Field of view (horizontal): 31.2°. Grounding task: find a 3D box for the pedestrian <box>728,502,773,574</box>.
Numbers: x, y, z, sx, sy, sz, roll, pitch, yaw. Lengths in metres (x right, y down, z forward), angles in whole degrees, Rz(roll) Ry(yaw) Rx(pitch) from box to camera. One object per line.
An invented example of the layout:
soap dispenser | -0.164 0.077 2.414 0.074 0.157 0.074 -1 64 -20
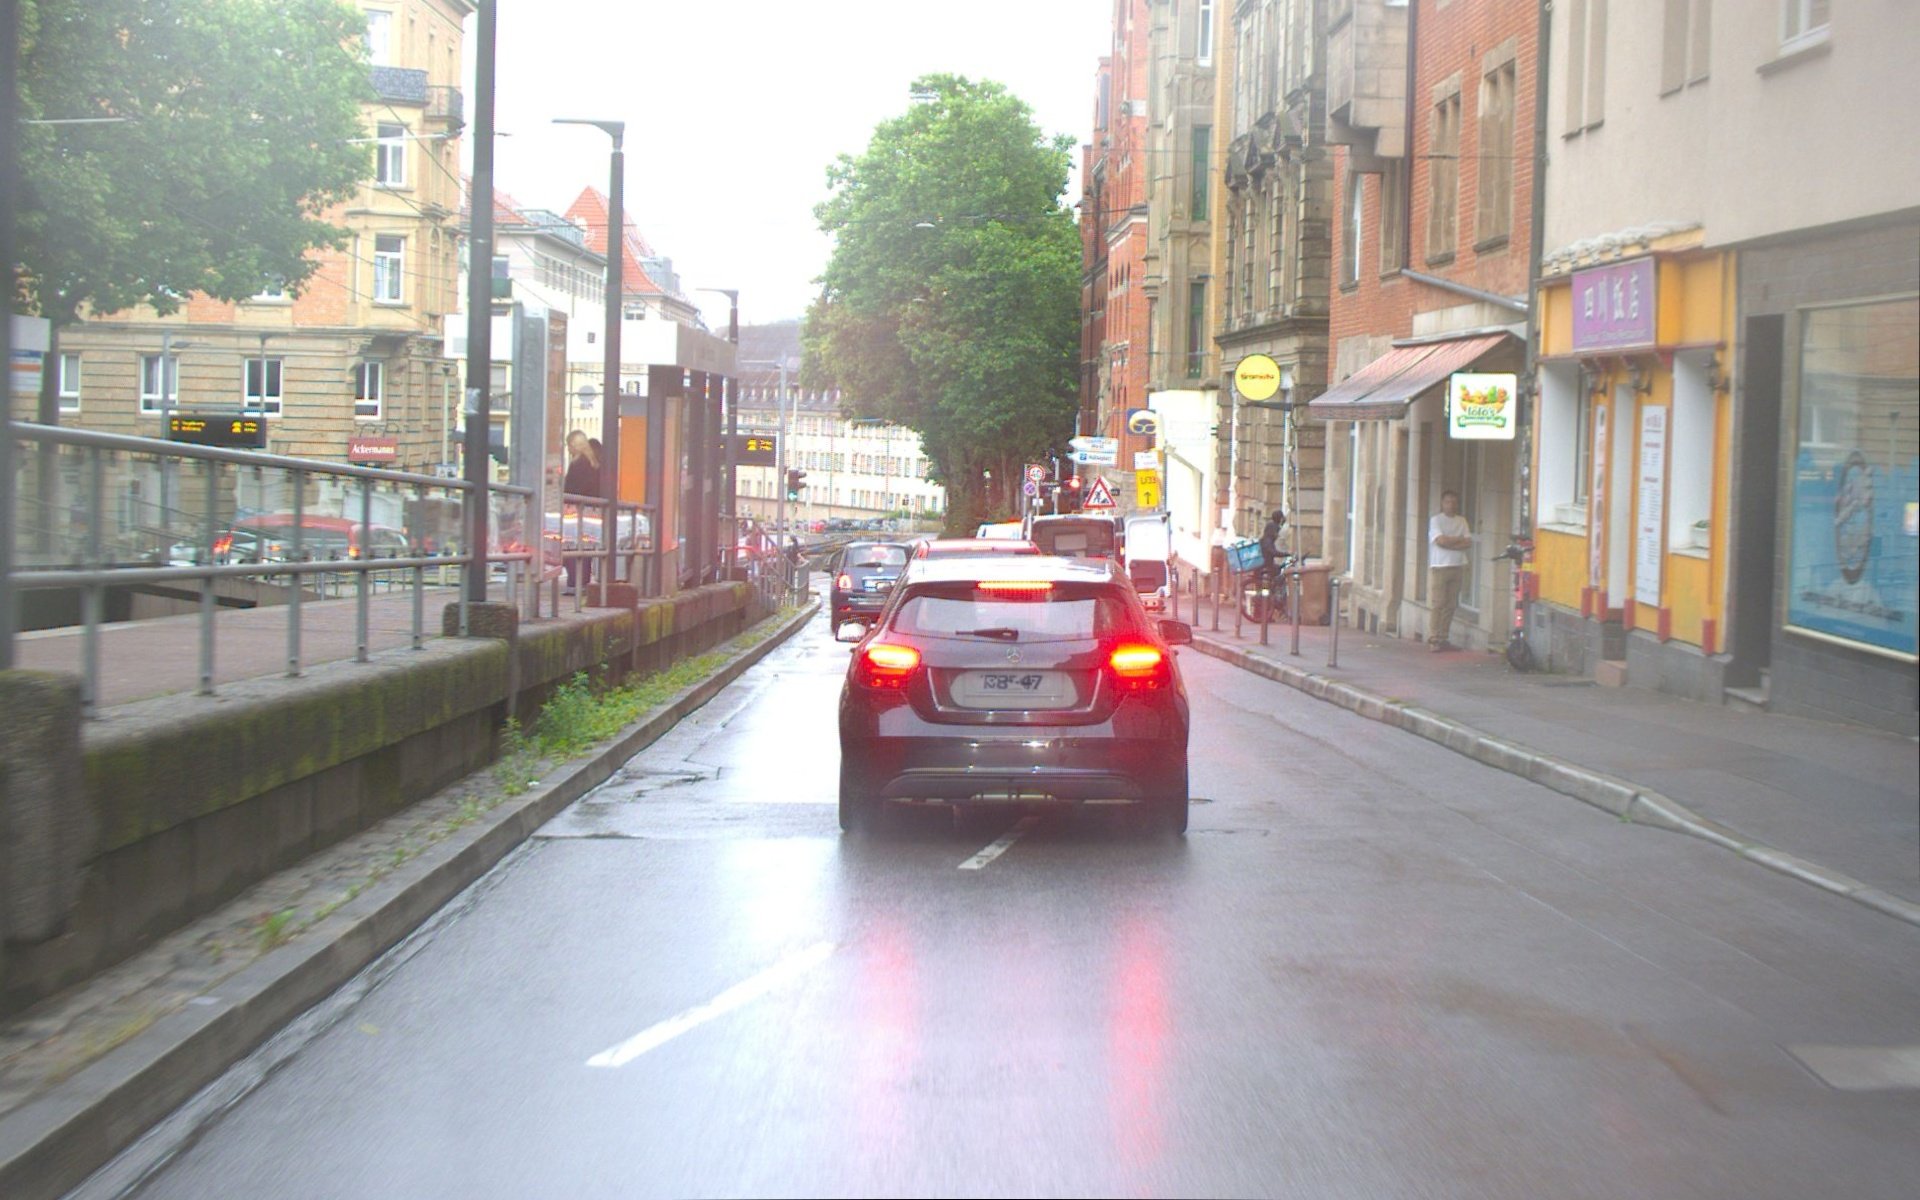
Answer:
pedestrian | -5.038 -1.486 82.656 0.739 1.718 0.740 0 2 -44

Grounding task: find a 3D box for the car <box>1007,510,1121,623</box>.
car | 1.846 -0.649 62.461 1.921 1.929 4.686 1 1 0

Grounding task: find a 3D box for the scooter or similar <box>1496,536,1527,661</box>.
scooter or similar | 5.538 -0.028 34.519 0.257 1.217 1.194 2 2 9

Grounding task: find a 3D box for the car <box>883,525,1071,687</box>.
car | 0.122 0.021 34.301 1.679 1.484 3.613 1 2 -3

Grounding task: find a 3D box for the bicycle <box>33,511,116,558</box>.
bicycle | -20.793 -1.544 80.751 1.870 1.058 0.518 1 1 -12

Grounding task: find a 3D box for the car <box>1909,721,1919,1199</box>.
car | 2.705 0.556 3.184 1.975 1.832 5.246 1 1 -3

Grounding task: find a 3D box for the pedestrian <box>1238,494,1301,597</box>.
pedestrian | 5.269 -0.934 58.523 0.833 1.748 0.687 0 1 -21

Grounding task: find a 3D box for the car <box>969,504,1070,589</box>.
car | 1.319 -1.243 78.301 1.933 1.825 4.282 1 2 -3

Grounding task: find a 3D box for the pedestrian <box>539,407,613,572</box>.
pedestrian | -3.781 -1.087 33.890 0.496 1.599 0.636 1 1 16

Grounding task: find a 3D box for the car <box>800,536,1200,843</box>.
car | 0.192 0.399 18.701 1.895 1.385 4.000 2 2 0

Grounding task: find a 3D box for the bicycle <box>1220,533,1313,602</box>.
bicycle | 5.021 -0.534 56.275 1.684 1.111 0.464 -1 1 -40

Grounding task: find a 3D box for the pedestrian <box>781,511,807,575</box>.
pedestrian | -3.986 -1.362 82.481 0.531 1.525 0.437 1 1 -8

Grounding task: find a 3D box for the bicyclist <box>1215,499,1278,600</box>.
bicyclist | 4.722 -0.834 56.633 0.848 1.651 0.631 -1 1 -41

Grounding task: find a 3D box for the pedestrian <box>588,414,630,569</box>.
pedestrian | -3.687 -1.135 36.057 0.409 1.599 0.450 1 1 -6

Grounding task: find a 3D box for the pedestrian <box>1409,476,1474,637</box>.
pedestrian | 5.548 -0.498 39.627 0.577 1.824 0.564 -2 1 -3
